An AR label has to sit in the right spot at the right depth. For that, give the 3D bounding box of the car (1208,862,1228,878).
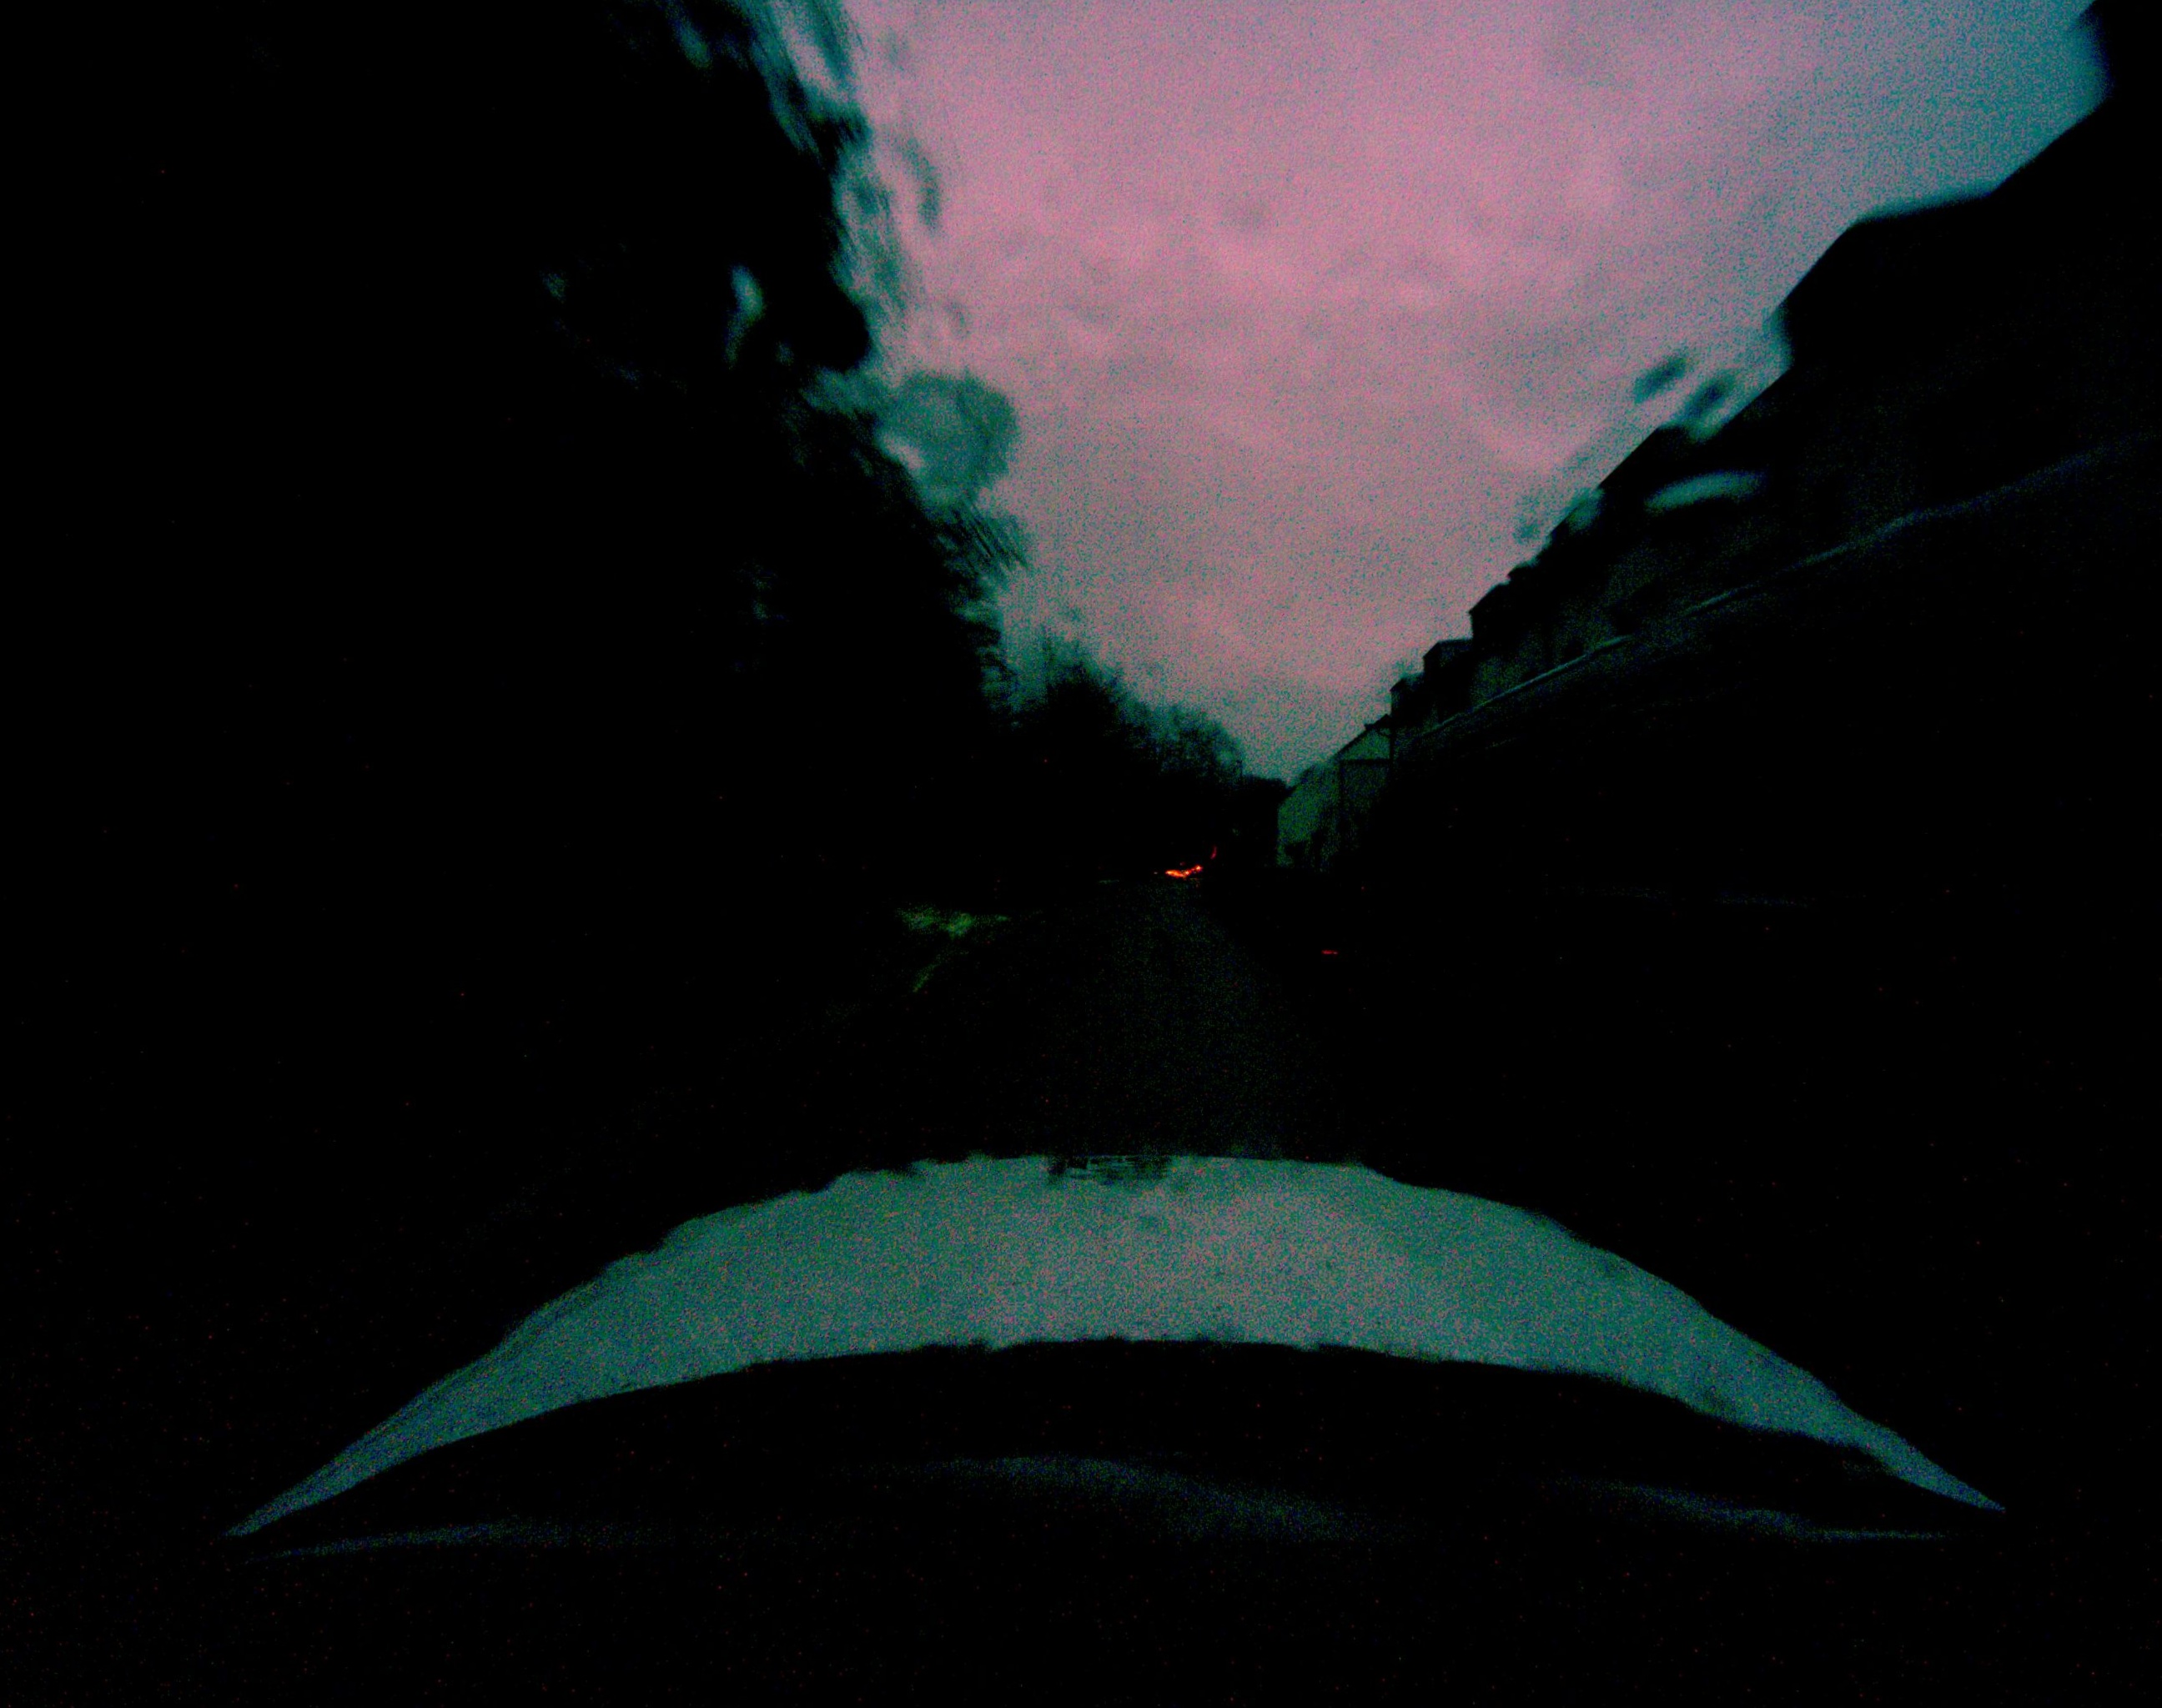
[{"bbox_3d":[13.697,1.589,81.254,1.692,1.506,4.039,1,-1,13],"label":"car"}]

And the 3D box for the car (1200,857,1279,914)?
[{"bbox_3d":[4.433,0.824,23.316,1.648,1.429,4.569,2,0,4],"label":"car"}]

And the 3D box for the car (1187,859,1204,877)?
[{"bbox_3d":[11.675,1.449,83.150,1.680,1.774,3.870,0,0,9],"label":"car"}]

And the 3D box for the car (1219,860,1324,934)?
[{"bbox_3d":[3.967,0.824,17.578,1.647,1.390,4.540,-1,-1,6],"label":"car"}]

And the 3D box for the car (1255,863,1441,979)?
[{"bbox_3d":[3.705,0.848,12.019,1.648,1.390,4.127,-1,-1,4],"label":"car"}]

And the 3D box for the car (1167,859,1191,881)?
[{"bbox_3d":[8.391,1.375,70.074,1.923,1.781,4.006,0,0,6],"label":"car"}]

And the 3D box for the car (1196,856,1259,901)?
[{"bbox_3d":[5.163,0.824,29.148,1.730,1.429,4.461,2,0,4],"label":"car"}]

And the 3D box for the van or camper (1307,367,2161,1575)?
[{"bbox_3d":[3.173,0.234,5.056,2.006,2.507,6.799,0,0,3],"label":"van or camper"}]
